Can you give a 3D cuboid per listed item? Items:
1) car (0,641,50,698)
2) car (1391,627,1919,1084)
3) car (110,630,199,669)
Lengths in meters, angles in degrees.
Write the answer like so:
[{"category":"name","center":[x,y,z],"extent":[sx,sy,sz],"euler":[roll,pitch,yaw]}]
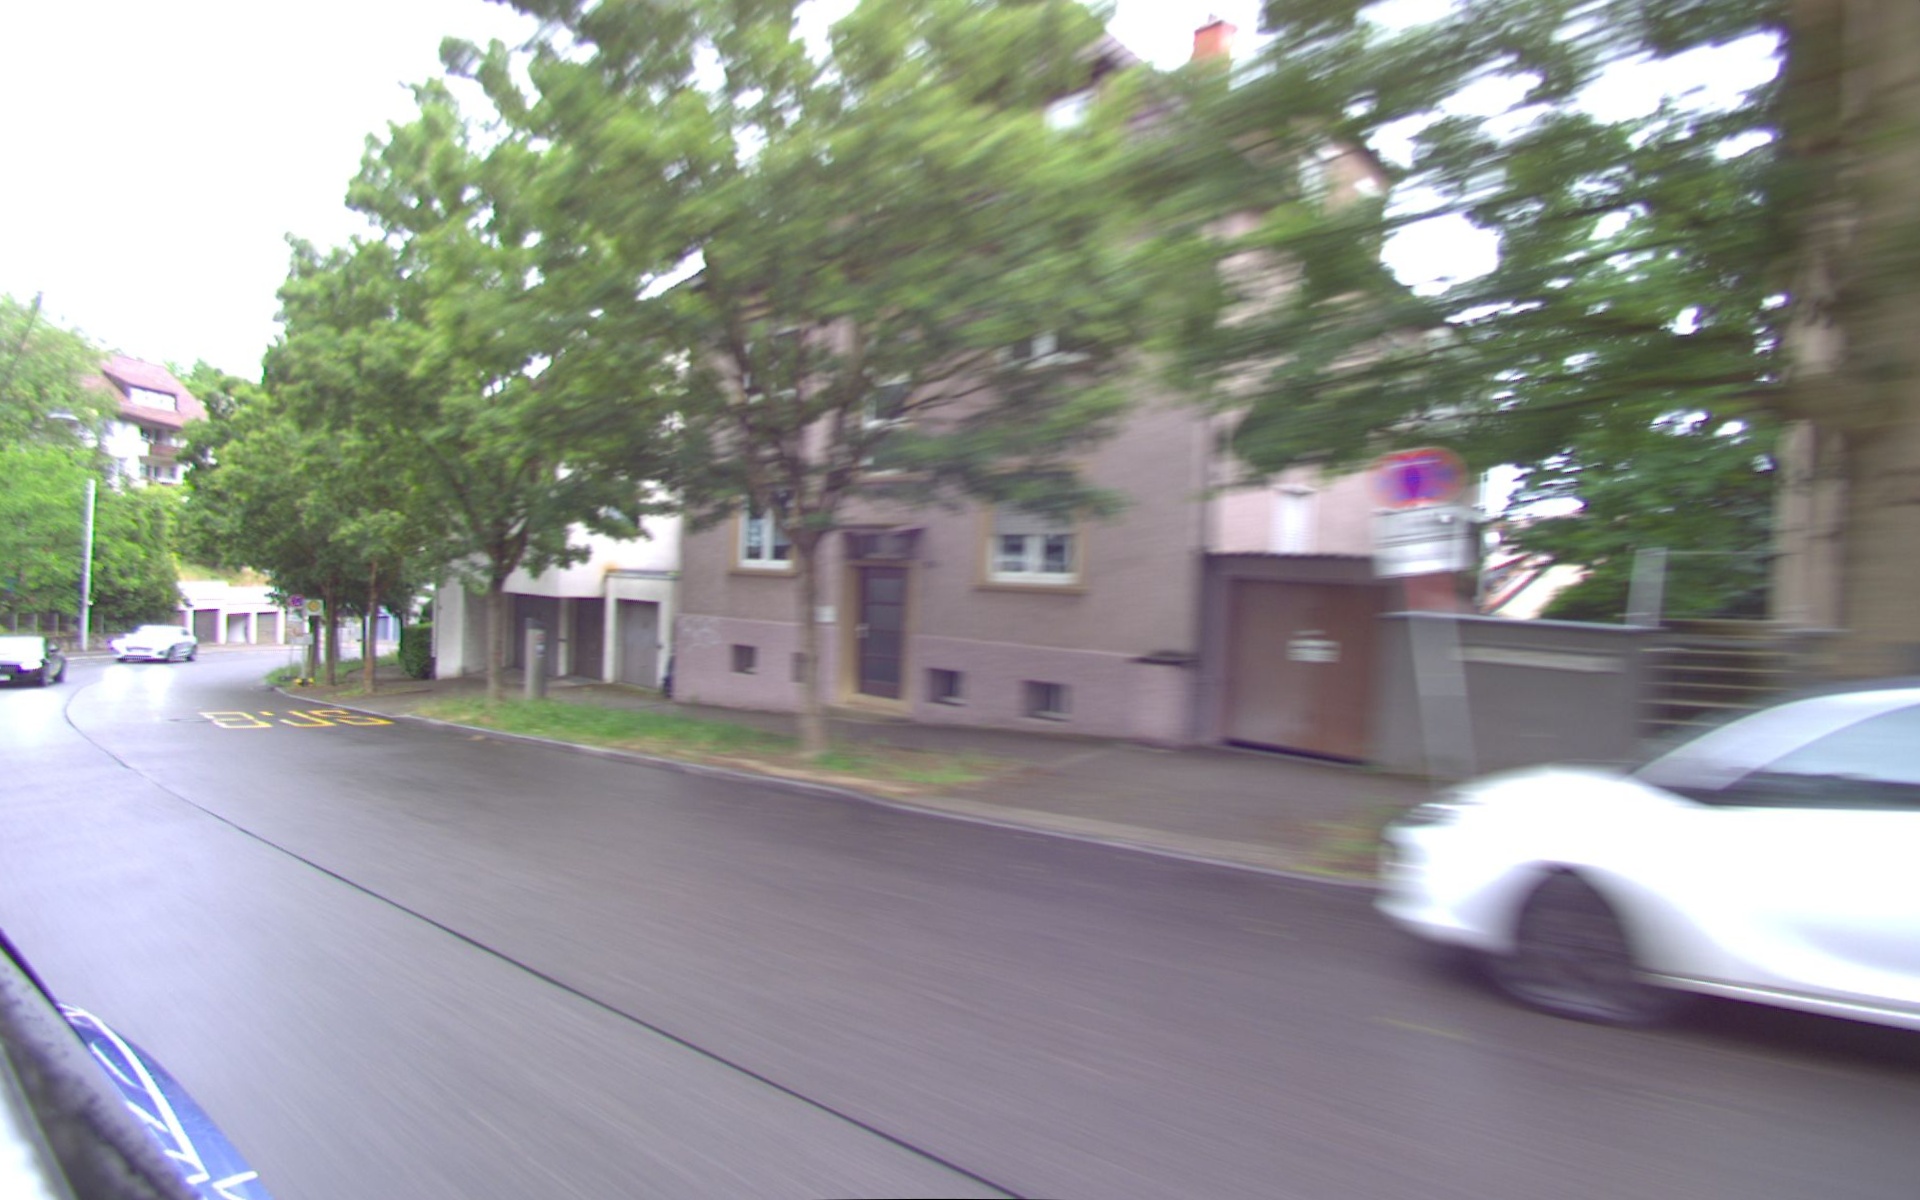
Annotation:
[{"category":"car","center":[-27.149,1.924,28.664],"extent":[4.018,1.500,1.782],"euler":[-2,-3,44]},{"category":"car","center":[3.794,0.906,3.816],"extent":[3.668,1.482,1.600],"euler":[-2,-7,43]},{"category":"car","center":[-36.523,2.212,46.014],"extent":[1.979,1.674,4.460],"euler":[1,-2,-23]}]
